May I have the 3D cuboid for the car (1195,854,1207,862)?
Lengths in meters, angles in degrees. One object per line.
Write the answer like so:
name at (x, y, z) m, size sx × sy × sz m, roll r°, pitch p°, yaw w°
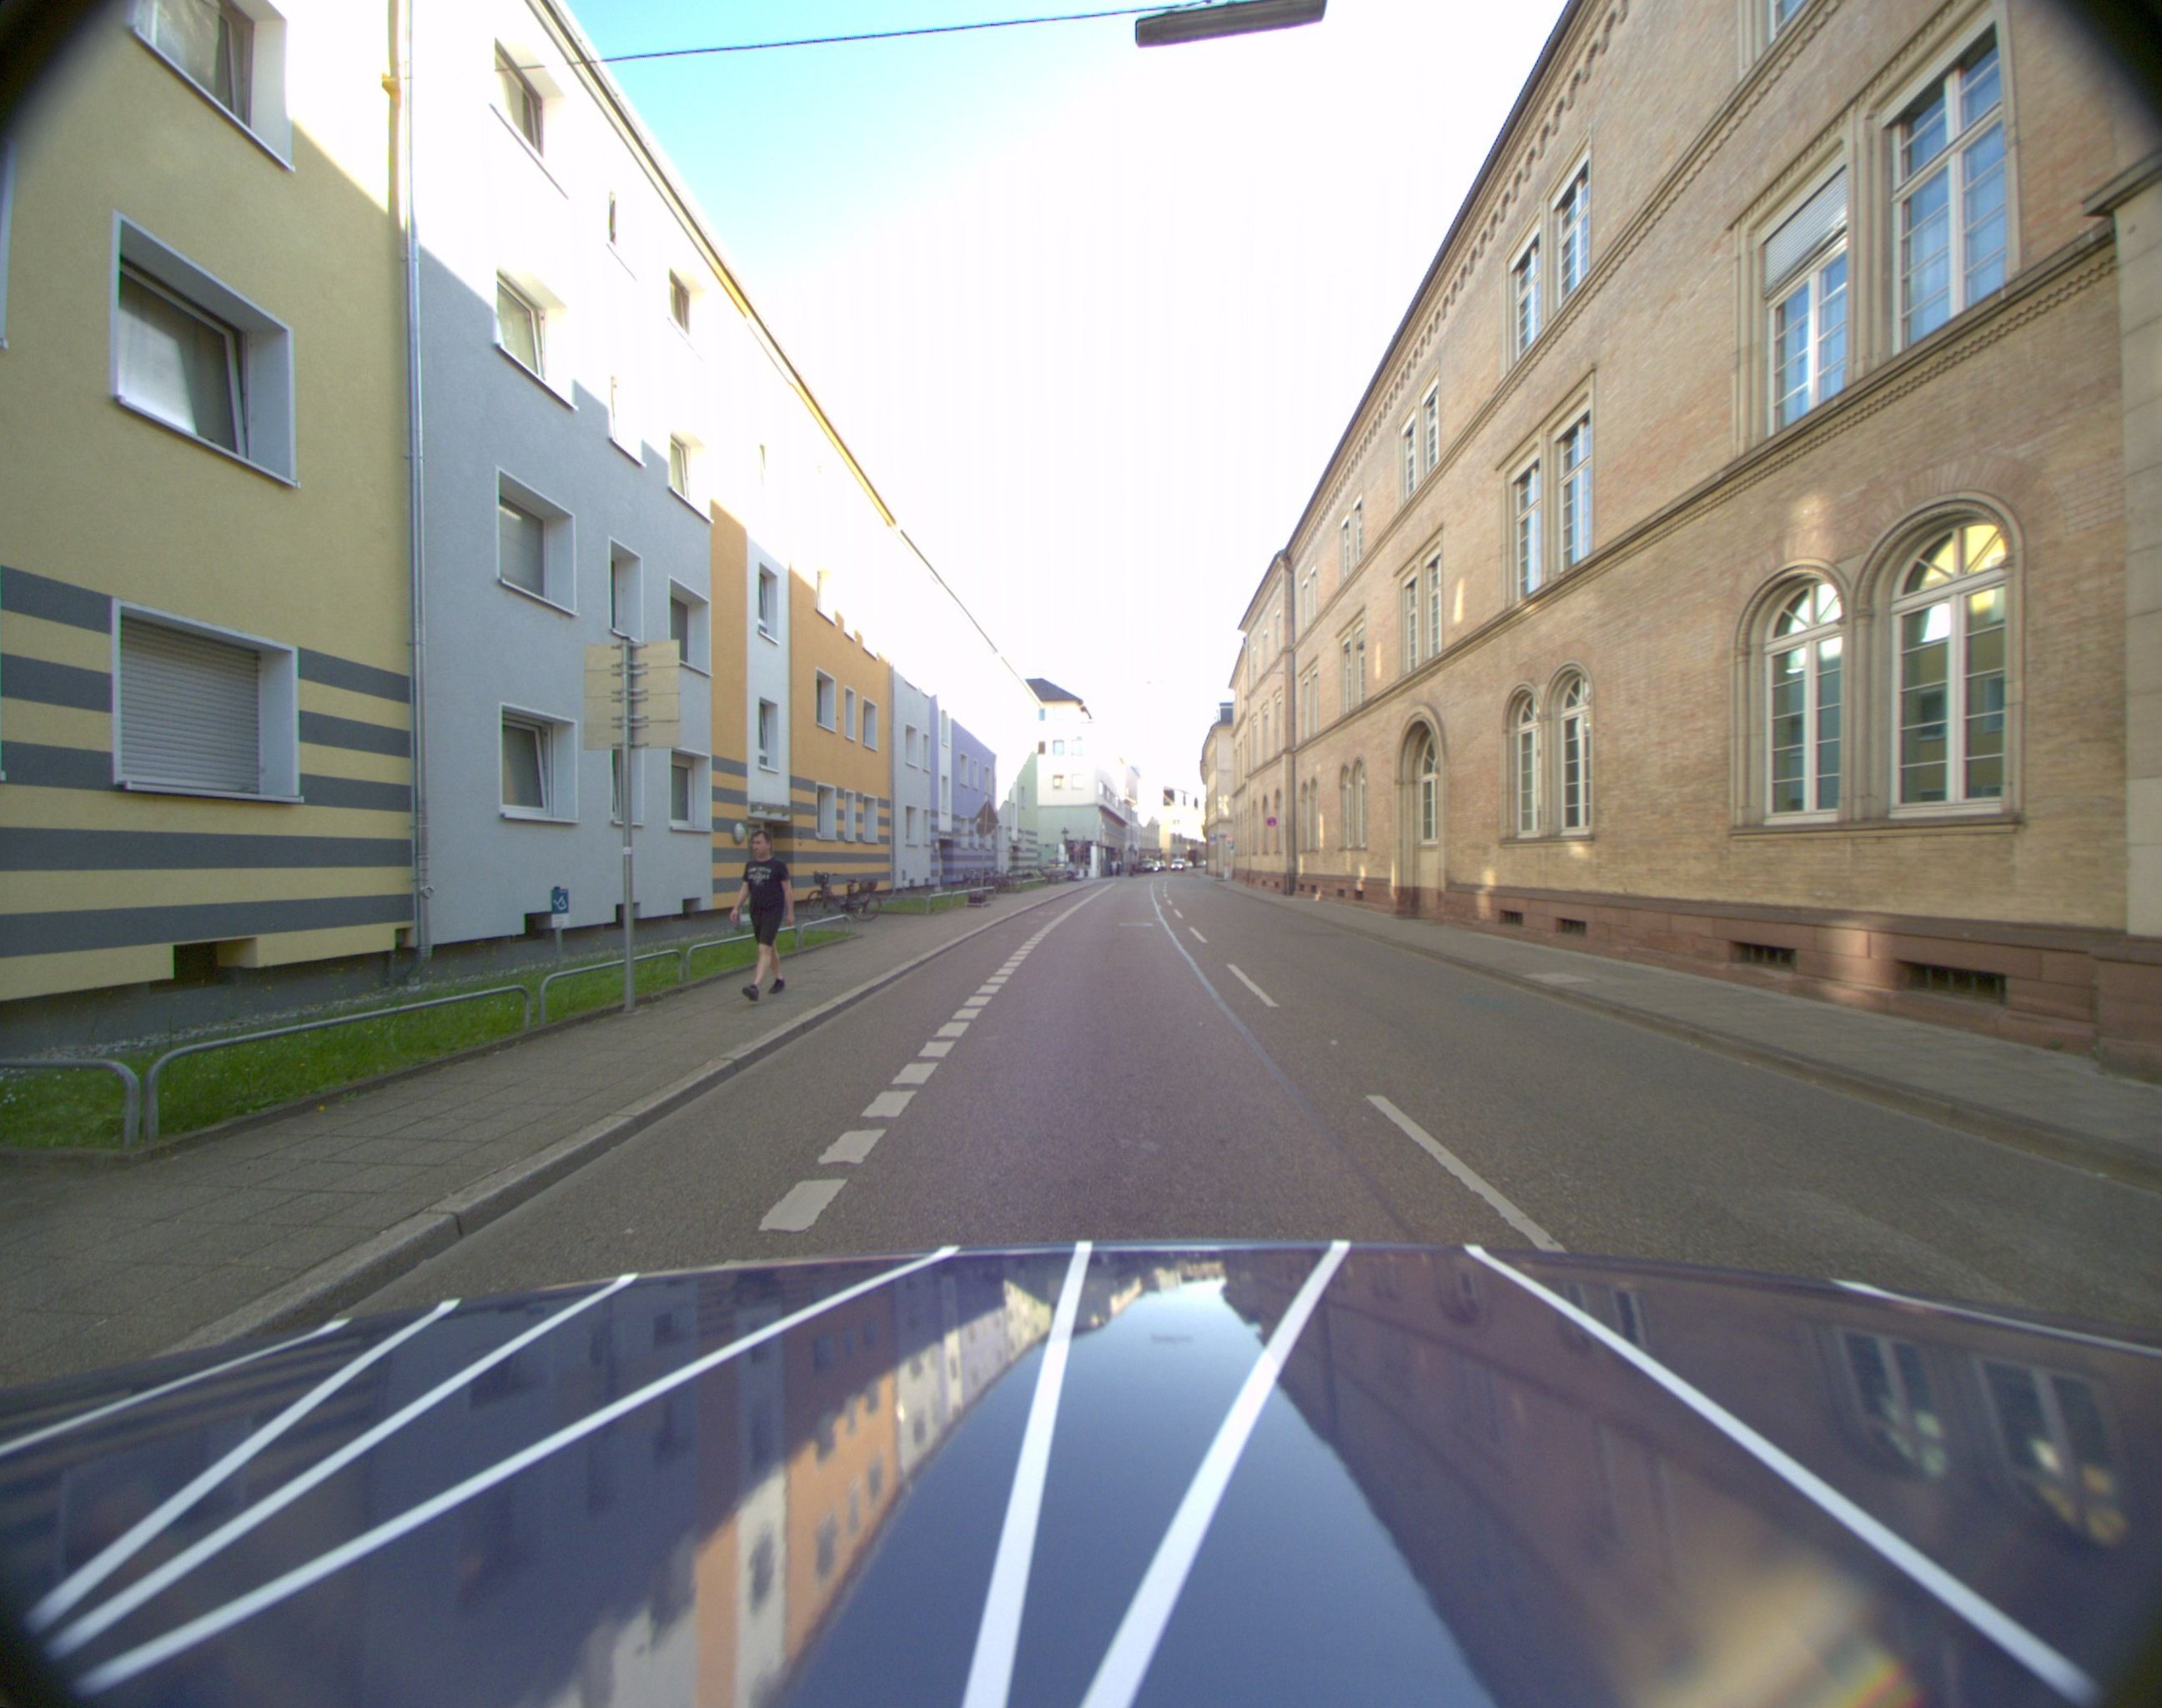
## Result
car at (25.853, 0.937, 163.633) m, size 1.925 × 1.714 × 4.236 m, roll 0°, pitch 0°, yaw 19°

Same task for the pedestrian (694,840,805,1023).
pedestrian at (-3.447, 0.766, 7.973) m, size 0.646 × 1.778 × 0.916 m, roll 3°, pitch 1°, yaw 4°

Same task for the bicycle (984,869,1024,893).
bicycle at (-3.398, 1.187, 33.738) m, size 1.711 × 1.029 × 0.636 m, roll 1°, pitch 0°, yaw -2°

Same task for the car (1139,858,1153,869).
car at (8.624, 1.190, 100.750) m, size 1.634 × 1.405 × 3.687 m, roll 0°, pitch 0°, yaw 8°

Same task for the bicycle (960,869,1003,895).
bicycle at (-4.159, 1.159, 31.835) m, size 1.710 × 1.039 × 0.636 m, roll 1°, pitch 0°, yaw 2°

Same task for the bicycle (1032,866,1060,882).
bicycle at (-2.182, 1.262, 47.557) m, size 1.711 × 0.972 × 0.516 m, roll 1°, pitch 0°, yaw -2°

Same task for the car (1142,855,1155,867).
car at (9.438, 0.992, 106.026) m, size 1.535 × 1.714 × 3.741 m, roll 0°, pitch 0°, yaw 8°

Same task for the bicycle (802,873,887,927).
bicycle at (-5.296, 1.017, 17.081) m, size 1.711 × 1.152 × 0.636 m, roll 1°, pitch 0°, yaw -2°

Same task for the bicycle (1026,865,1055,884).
bicycle at (-2.430, 1.258, 46.097) m, size 1.711 × 1.097 × 0.585 m, roll 1°, pitch 0°, yaw -2°

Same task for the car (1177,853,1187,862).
car at (19.896, 0.736, 149.590) m, size 1.534 × 1.714 × 3.743 m, roll 0°, pitch 0°, yaw 16°

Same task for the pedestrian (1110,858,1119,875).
pedestrian at (3.069, 1.147, 69.265) m, size 0.707 × 1.510 × 0.662 m, roll -1°, pitch 0°, yaw 12°

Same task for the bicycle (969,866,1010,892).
bicycle at (-3.957, 1.095, 32.977) m, size 1.710 × 1.075 × 0.636 m, roll 1°, pitch 0°, yaw 1°

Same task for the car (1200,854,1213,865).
car at (19.860, 0.902, 120.354) m, size 1.662 × 1.714 × 3.743 m, roll 0°, pitch 0°, yaw 14°

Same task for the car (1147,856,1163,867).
car at (11.087, 1.091, 113.683) m, size 1.860 × 1.714 × 3.743 m, roll 0°, pitch 0°, yaw 16°

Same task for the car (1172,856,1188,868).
car at (14.619, 1.142, 112.220) m, size 1.921 × 1.712 × 4.965 m, roll 0°, pitch 0°, yaw 11°
